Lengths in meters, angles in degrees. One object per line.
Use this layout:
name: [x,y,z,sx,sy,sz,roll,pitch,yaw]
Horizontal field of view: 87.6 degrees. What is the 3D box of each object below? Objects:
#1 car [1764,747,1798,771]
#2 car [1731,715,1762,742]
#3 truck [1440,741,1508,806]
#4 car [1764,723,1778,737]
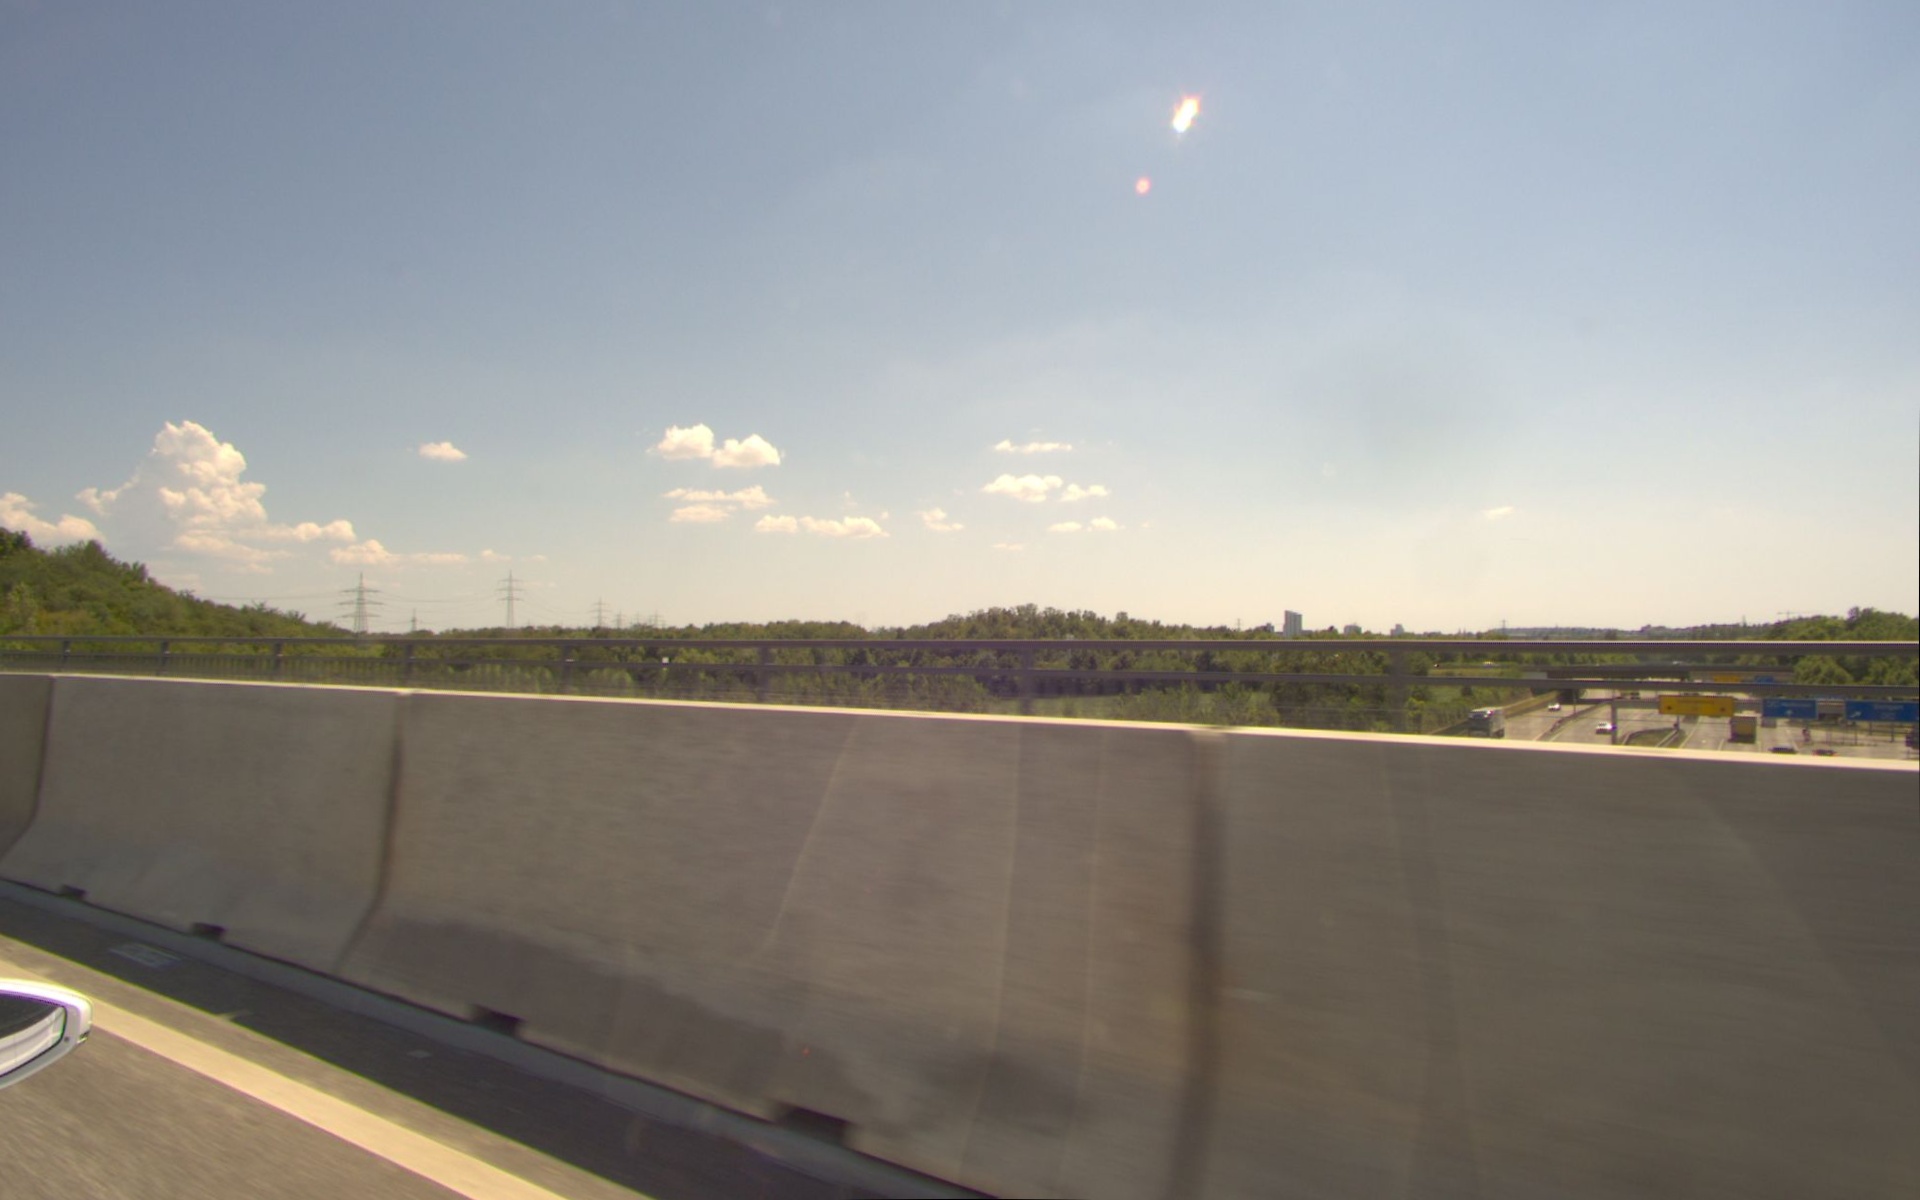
car: [81.389,15.699,99.303,2.326,2.037,4.738,-1,-6,37]
car: [99.298,16.175,126.508,2.886,3.115,7.336,-1,-6,37]
truck: [37.688,12.557,73.265,2.743,4.088,9.300,-2,-6,38]
car: [124.514,19.965,153.728,1.658,1.897,3.976,-1,-6,38]
